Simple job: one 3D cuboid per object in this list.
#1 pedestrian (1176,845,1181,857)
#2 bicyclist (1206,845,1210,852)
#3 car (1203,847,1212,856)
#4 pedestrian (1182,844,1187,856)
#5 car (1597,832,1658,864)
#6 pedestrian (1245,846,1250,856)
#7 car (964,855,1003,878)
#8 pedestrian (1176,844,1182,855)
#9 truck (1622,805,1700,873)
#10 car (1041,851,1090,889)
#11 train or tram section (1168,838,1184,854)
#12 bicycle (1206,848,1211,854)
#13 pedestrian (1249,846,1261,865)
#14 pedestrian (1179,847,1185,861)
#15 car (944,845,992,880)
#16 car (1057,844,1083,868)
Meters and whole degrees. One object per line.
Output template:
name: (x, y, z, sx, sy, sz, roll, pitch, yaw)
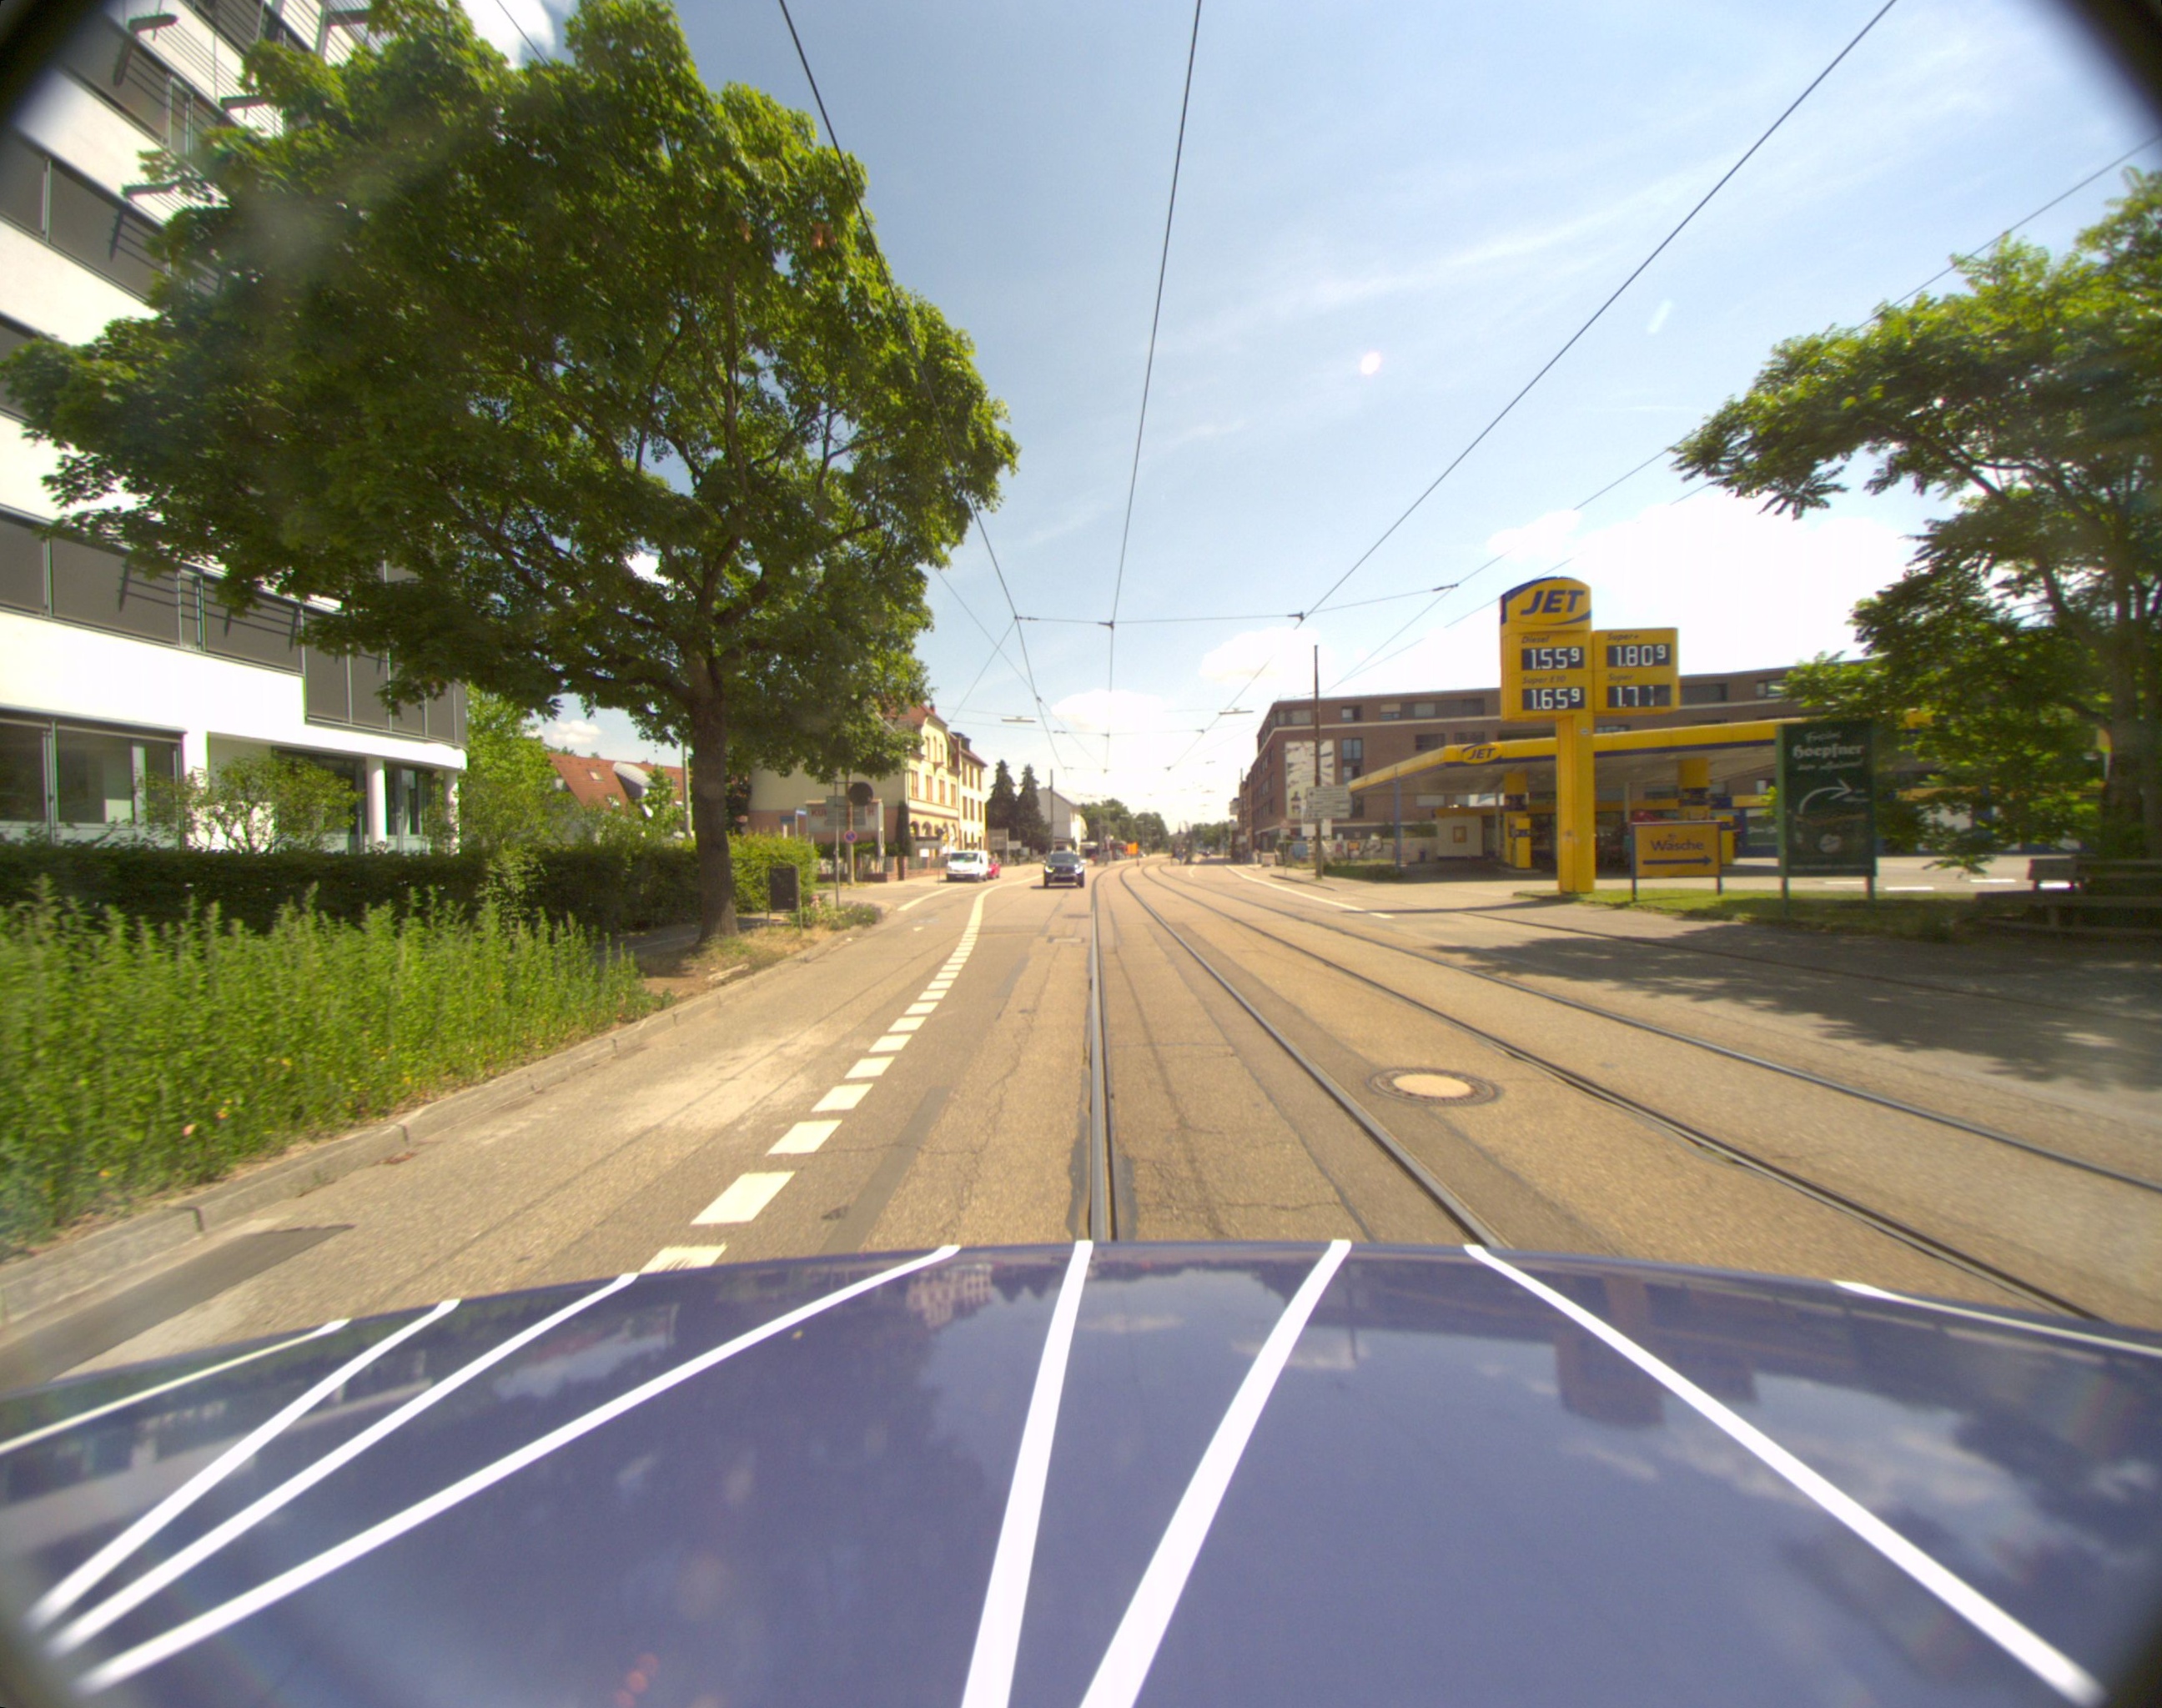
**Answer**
pedestrian: (14.668, -0.434, 114.098, 0.761, 1.789, 0.952, 0, 1, 8)
bicyclist: (27.346, -1.285, 163.665, 0.760, 1.495, 1.065, -1, 1, 3)
car: (31.622, -0.705, 190.636, 2.020, 2.002, 4.002, -3, 0, 8)
pedestrian: (14.602, -0.582, 107.516, 0.686, 1.587, 0.761, 0, 1, 8)
car: (26.869, -0.310, 37.475, 1.995, 1.470, 4.350, -1, 1, 30)
pedestrian: (25.127, -0.437, 114.595, 0.686, 1.587, 0.761, 0, 1, 8)
car: (-6.719, 0.829, 52.604, 1.998, 1.433, 4.017, -2, 0, 2)
pedestrian: (14.698, -0.688, 113.967, 0.761, 1.685, 0.809, 0, 1, 8)
truck: (23.246, -0.613, 30.638, 1.995, 2.484, 5.212, -1, 1, 32)
car: (-0.633, 0.672, 34.699, 1.845, 1.565, 4.488, -1, 1, 3)
train or tram section: (23.168, -2.005, 184.666, 3.241, 3.547, 16.358, -1, 1, 9)
bicycle: (27.538, -0.714, 163.603, 0.818, 1.215, 2.390, 0, 0, 5)
pedestrian: (15.183, 0.166, 66.186, 0.762, 1.587, 1.000, -5, 1, 4)
pedestrian: (12.947, -0.032, 97.593, 0.686, 1.750, 1.034, 0, 1, 8)
car: (-6.825, 0.493, 46.611, 1.998, 1.980, 5.514, 1, 0, 1)
car: (-0.939, 0.137, 67.303, 1.998, 2.002, 4.000, -1, 1, 3)
